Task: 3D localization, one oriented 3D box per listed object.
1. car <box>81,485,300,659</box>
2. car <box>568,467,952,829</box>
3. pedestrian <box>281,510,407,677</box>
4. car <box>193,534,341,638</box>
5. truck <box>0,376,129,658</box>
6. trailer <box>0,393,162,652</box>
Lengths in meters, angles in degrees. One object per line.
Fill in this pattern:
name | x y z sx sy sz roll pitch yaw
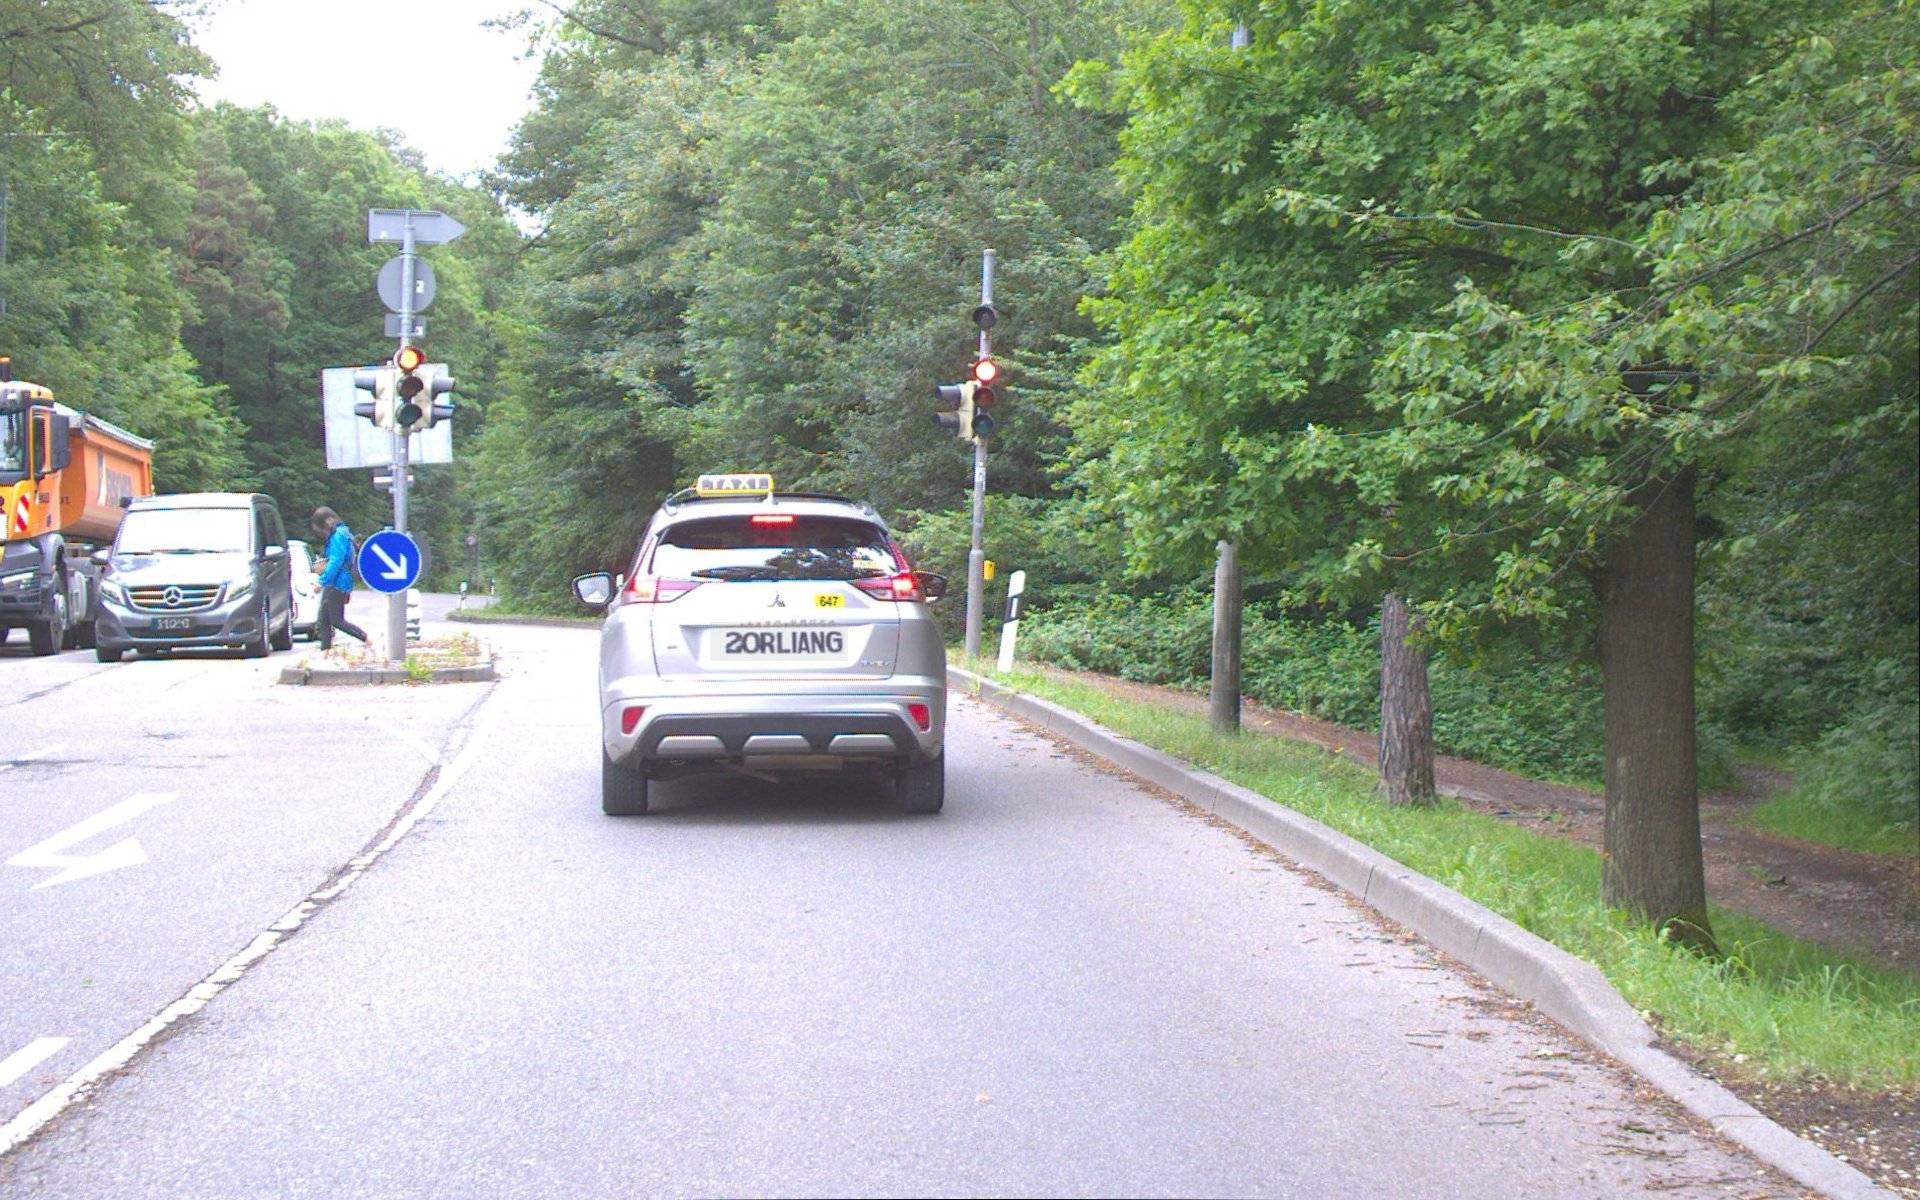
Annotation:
car | -9.009 -0.336 40.590 1.993 1.887 4.840 -1 1 -7
car | -0.993 0.180 18.979 1.846 1.774 4.000 0 2 1
pedestrian | -6.164 -0.074 34.460 1.047 1.643 1.069 0 2 1
car | -9.749 -0.229 48.537 1.612 1.316 3.722 -2 2 -5
truck | -12.374 -0.983 43.832 2.738 3.307 7.161 -1 0 -8
trailer | -12.983 -1.001 48.151 2.738 3.307 8.571 -1 0 -8
